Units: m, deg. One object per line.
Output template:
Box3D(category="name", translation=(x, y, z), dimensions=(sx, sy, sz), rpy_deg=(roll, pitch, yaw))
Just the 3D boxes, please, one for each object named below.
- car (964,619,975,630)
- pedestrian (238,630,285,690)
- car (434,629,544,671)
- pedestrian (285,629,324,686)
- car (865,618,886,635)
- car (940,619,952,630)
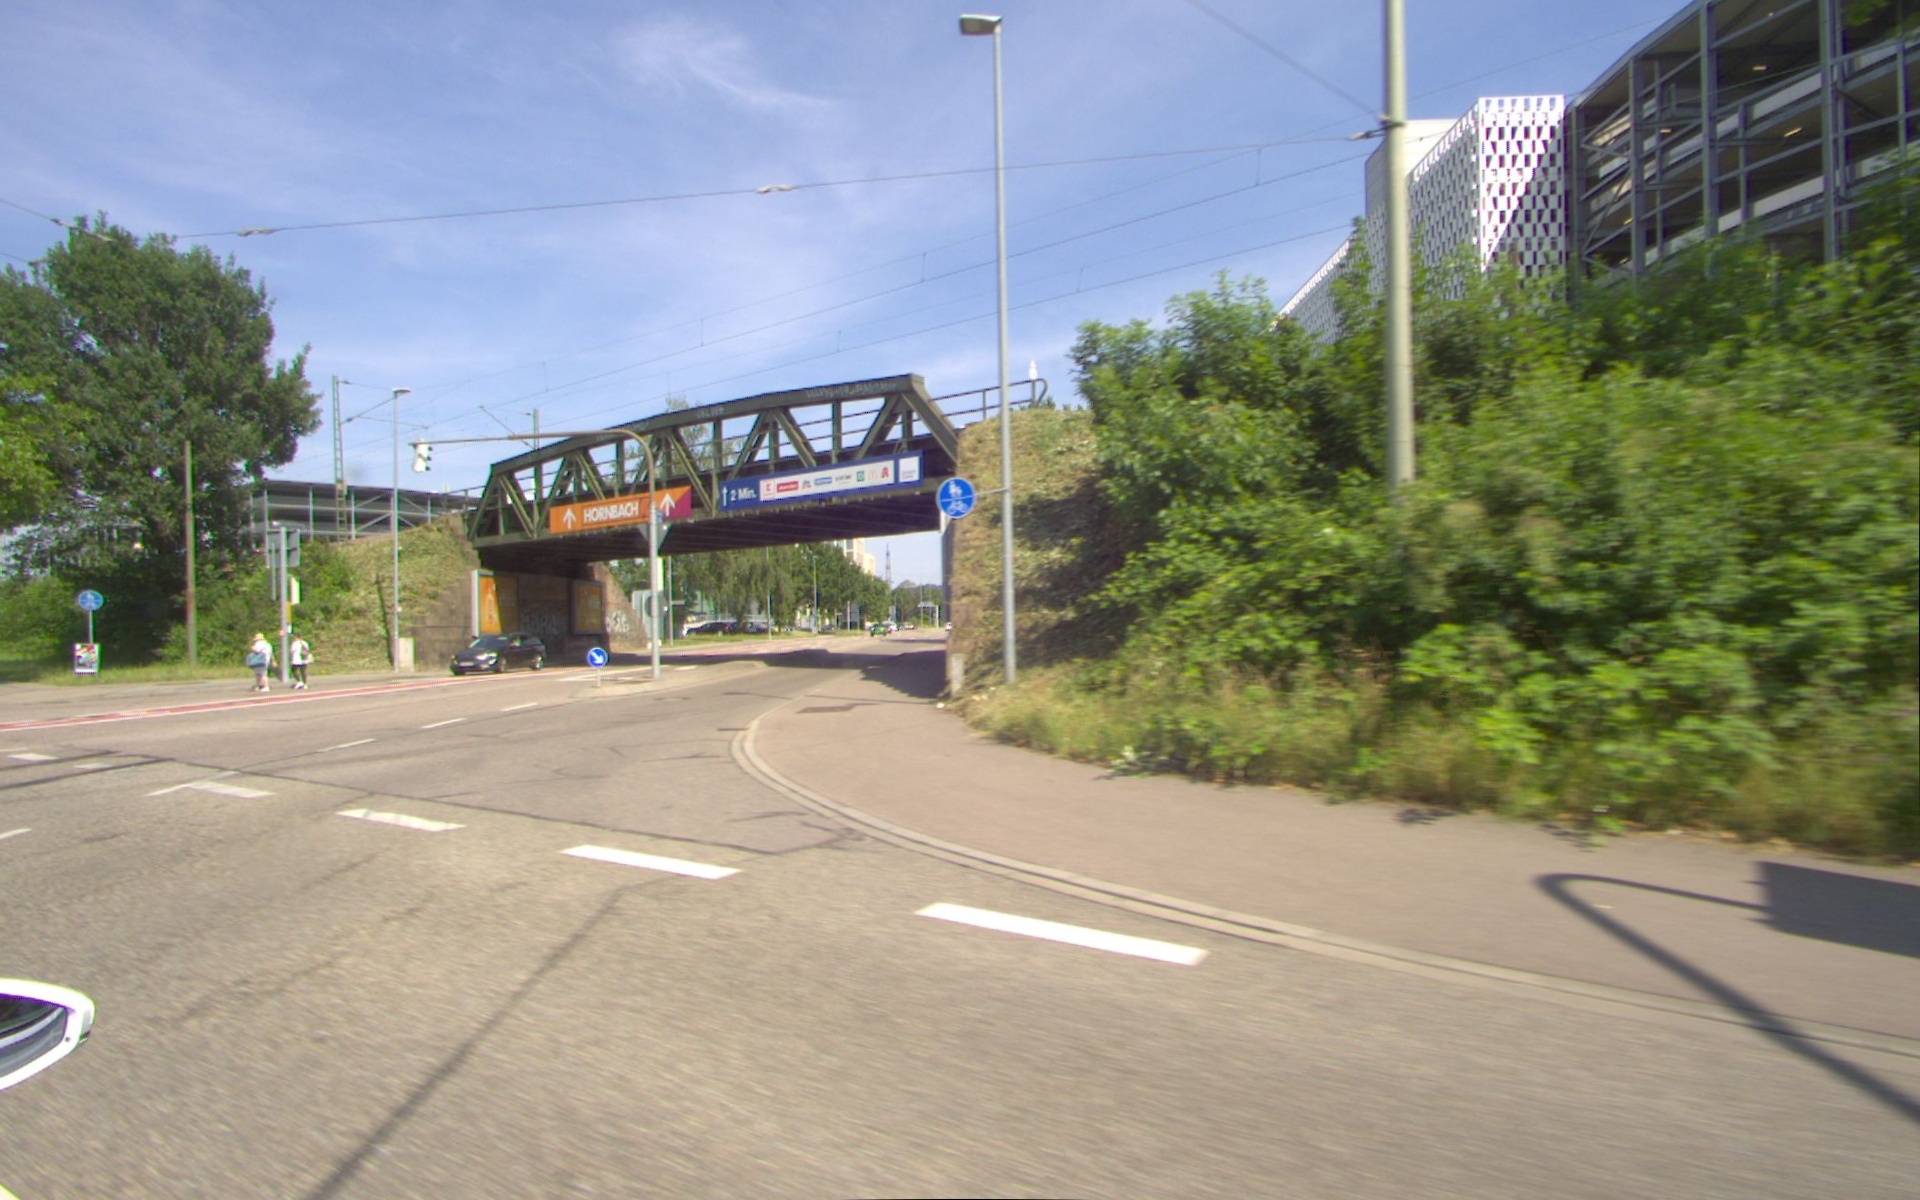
Box3D(category="car", translation=(1.943, 4.906, 201.868), dimensions=(1.961, 2.040, 4.001), rpy_deg=(-1, -1, 3))
Box3D(category="pedestrian", translation=(-19.473, 1.650, 27.910), dimensions=(0.767, 1.633, 0.865), rpy_deg=(-1, 0, 35))
Box3D(category="car", translation=(-17.299, 1.792, 37.060), dimensions=(1.961, 1.427, 4.502), rpy_deg=(0, -1, 0))
Box3D(category="pedestrian", translation=(-18.890, 1.650, 28.854), dimensions=(0.767, 1.600, 0.727), rpy_deg=(-1, 0, 36))
Box3D(category="car", translation=(-10.319, 3.282, 122.492), dimensions=(1.961, 2.040, 4.001), rpy_deg=(-1, -1, 3))
Box3D(category="car", translation=(-2.516, 4.346, 177.972), dimensions=(1.961, 2.040, 4.001), rpy_deg=(-1, -1, 3))
